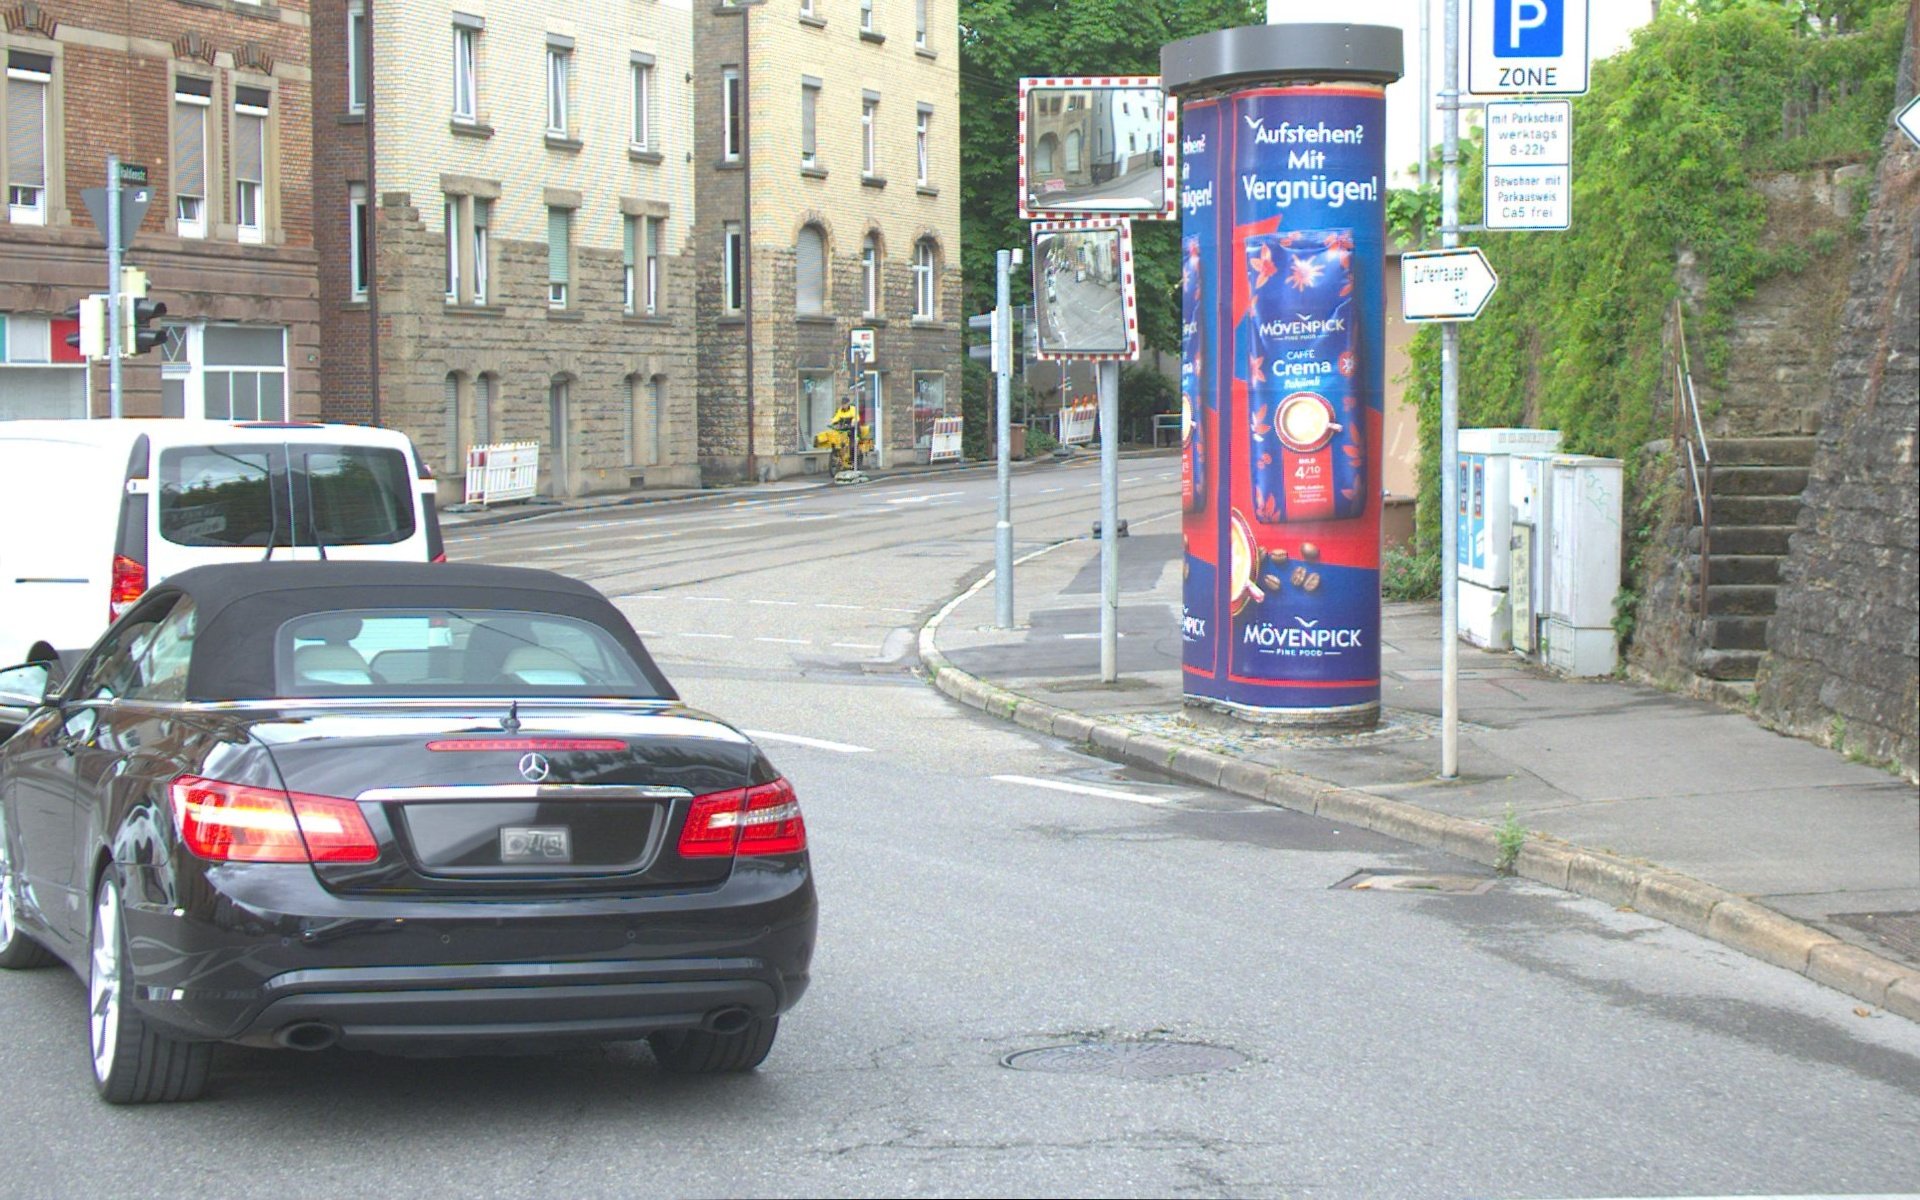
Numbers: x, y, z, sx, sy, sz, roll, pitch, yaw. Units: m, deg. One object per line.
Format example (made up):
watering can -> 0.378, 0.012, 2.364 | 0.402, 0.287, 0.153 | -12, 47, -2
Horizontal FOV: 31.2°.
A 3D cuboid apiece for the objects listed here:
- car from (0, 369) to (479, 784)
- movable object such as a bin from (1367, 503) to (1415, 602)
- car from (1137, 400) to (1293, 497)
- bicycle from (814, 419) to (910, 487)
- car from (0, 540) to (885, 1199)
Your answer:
car -> -4.566, -0.143, 18.827 | 1.892, 1.922, 4.645 | -5, 2, -34
movable object such as a bin -> 3.968, -0.437, 31.639 | 0.343, 0.908, 0.495 | 0, 1, -5
car -> 4.891, -2.896, 65.467 | 1.951, 1.712, 3.997 | -2, 2, 19
bicycle -> -2.074, -3.137, 73.157 | 0.632, 1.302, 2.595 | -3, 3, 32
car -> -1.856, 0.584, 10.151 | 1.761, 1.404, 4.400 | -4, 2, -22
